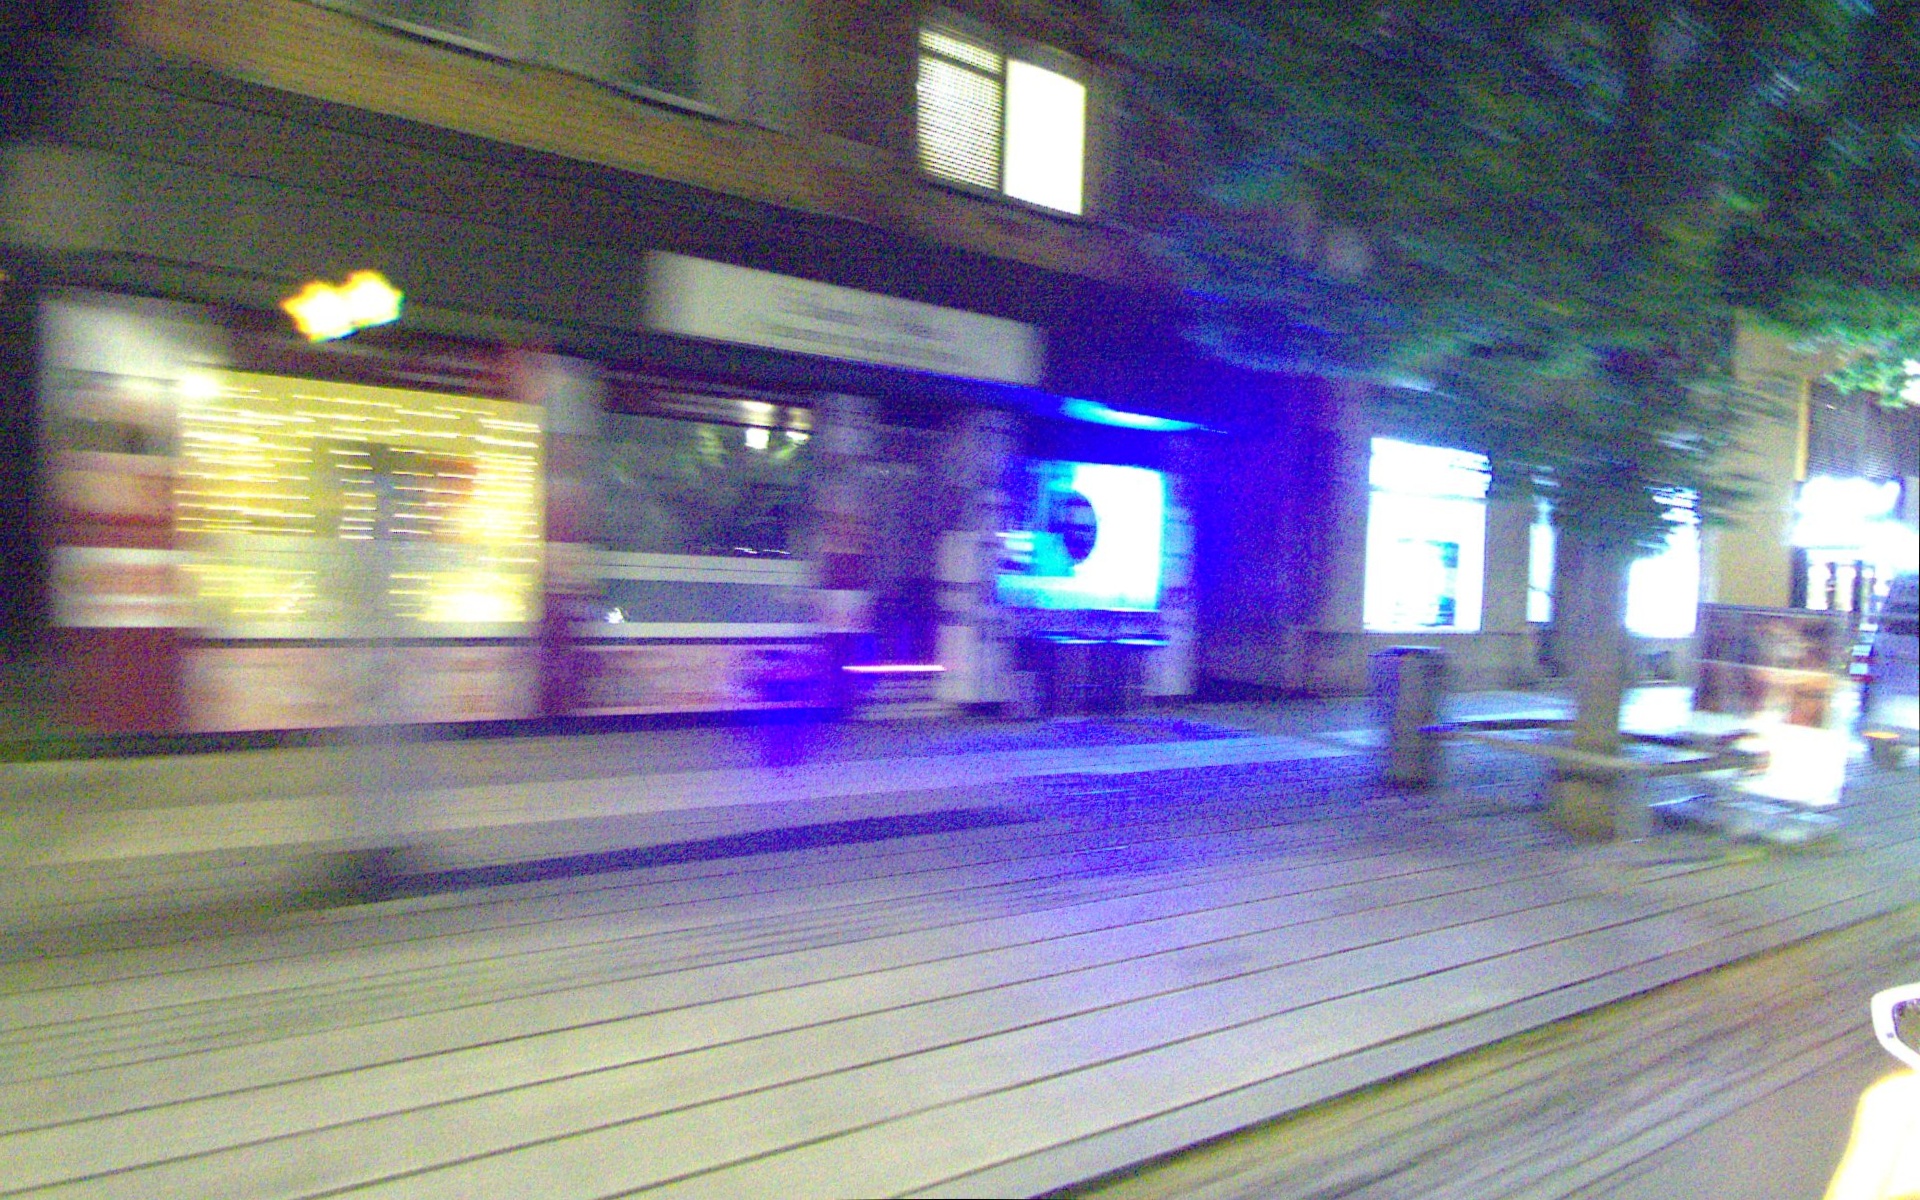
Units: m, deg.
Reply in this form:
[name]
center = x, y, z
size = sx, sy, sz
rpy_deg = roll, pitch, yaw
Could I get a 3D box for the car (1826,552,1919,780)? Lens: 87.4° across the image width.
[car]
center = 10.766, 0.652, 9.861
size = 5.019, 1.992, 1.914
rpy_deg = 1, 3, -32
